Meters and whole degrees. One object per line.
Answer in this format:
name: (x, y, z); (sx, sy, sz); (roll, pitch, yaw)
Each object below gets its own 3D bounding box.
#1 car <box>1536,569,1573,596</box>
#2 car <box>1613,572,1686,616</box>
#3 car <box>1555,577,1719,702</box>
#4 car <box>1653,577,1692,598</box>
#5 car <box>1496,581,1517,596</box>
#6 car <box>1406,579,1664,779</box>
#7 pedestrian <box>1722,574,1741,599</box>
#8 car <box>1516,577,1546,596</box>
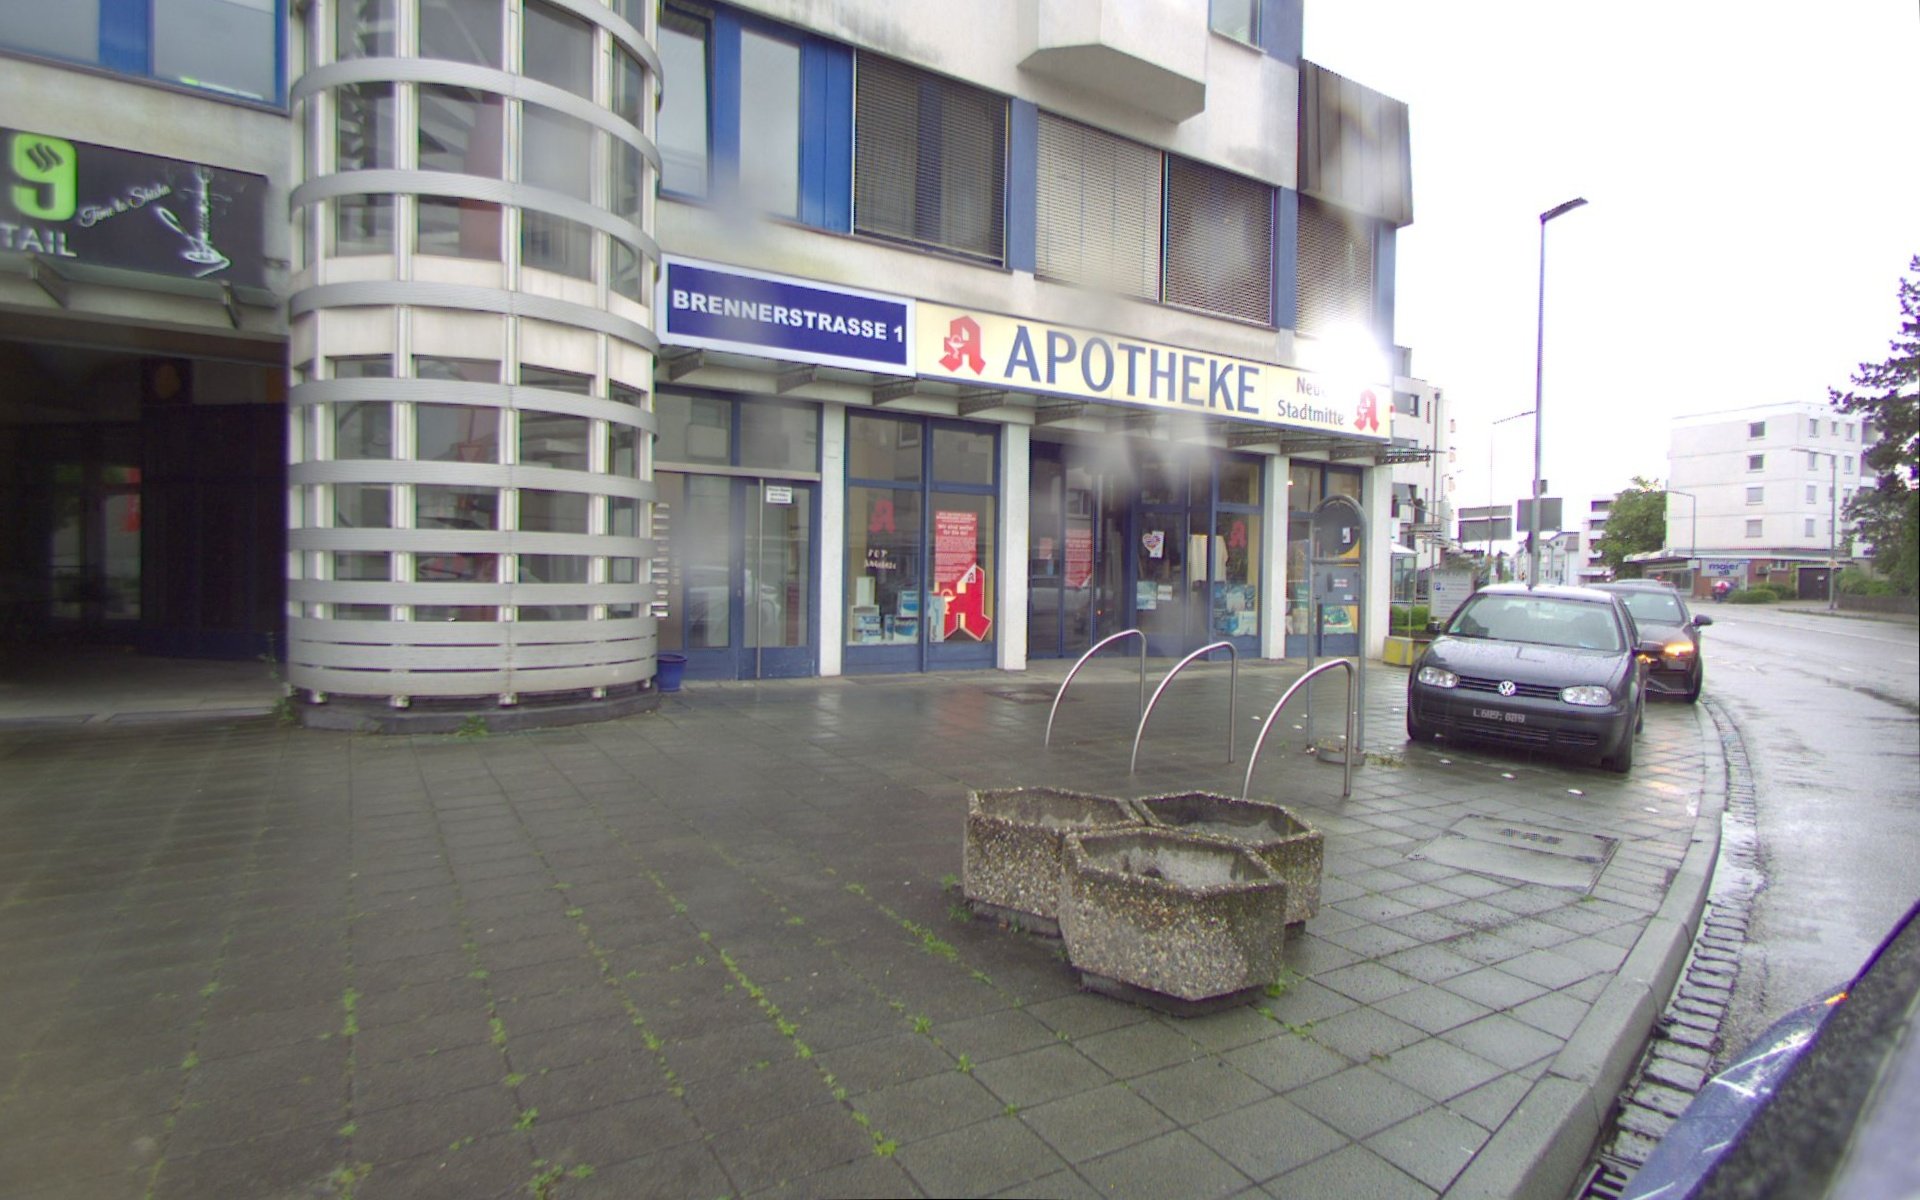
car: (36.850, -1.085, 62.791); (1.718, 1.547, 4.024); (2, 1, 27)
car: (24.844, -0.247, 36.582); (1.719, 1.462, 4.009); (0, 2, 27)
car: (9.425, 0.425, 14.030); (1.650, 1.442, 3.949); (2, 2, 36)
car: (51.727, -0.930, 73.539); (1.855, 1.454, 3.704); (1, 2, 28)
car: (58.308, -1.228, 107.995); (1.982, 1.635, 3.960); (-1, 1, 29)
car: (5.492, 0.545, 9.449); (1.646, 1.388, 3.683); (5, 4, 36)
pedestrian: (55.198, -0.976, 72.408); (0.845, 1.757, 0.831); (1, 2, 20)
car: (46.731, -1.143, 82.906); (1.783, 1.385, 3.941); (1, 3, 25)
